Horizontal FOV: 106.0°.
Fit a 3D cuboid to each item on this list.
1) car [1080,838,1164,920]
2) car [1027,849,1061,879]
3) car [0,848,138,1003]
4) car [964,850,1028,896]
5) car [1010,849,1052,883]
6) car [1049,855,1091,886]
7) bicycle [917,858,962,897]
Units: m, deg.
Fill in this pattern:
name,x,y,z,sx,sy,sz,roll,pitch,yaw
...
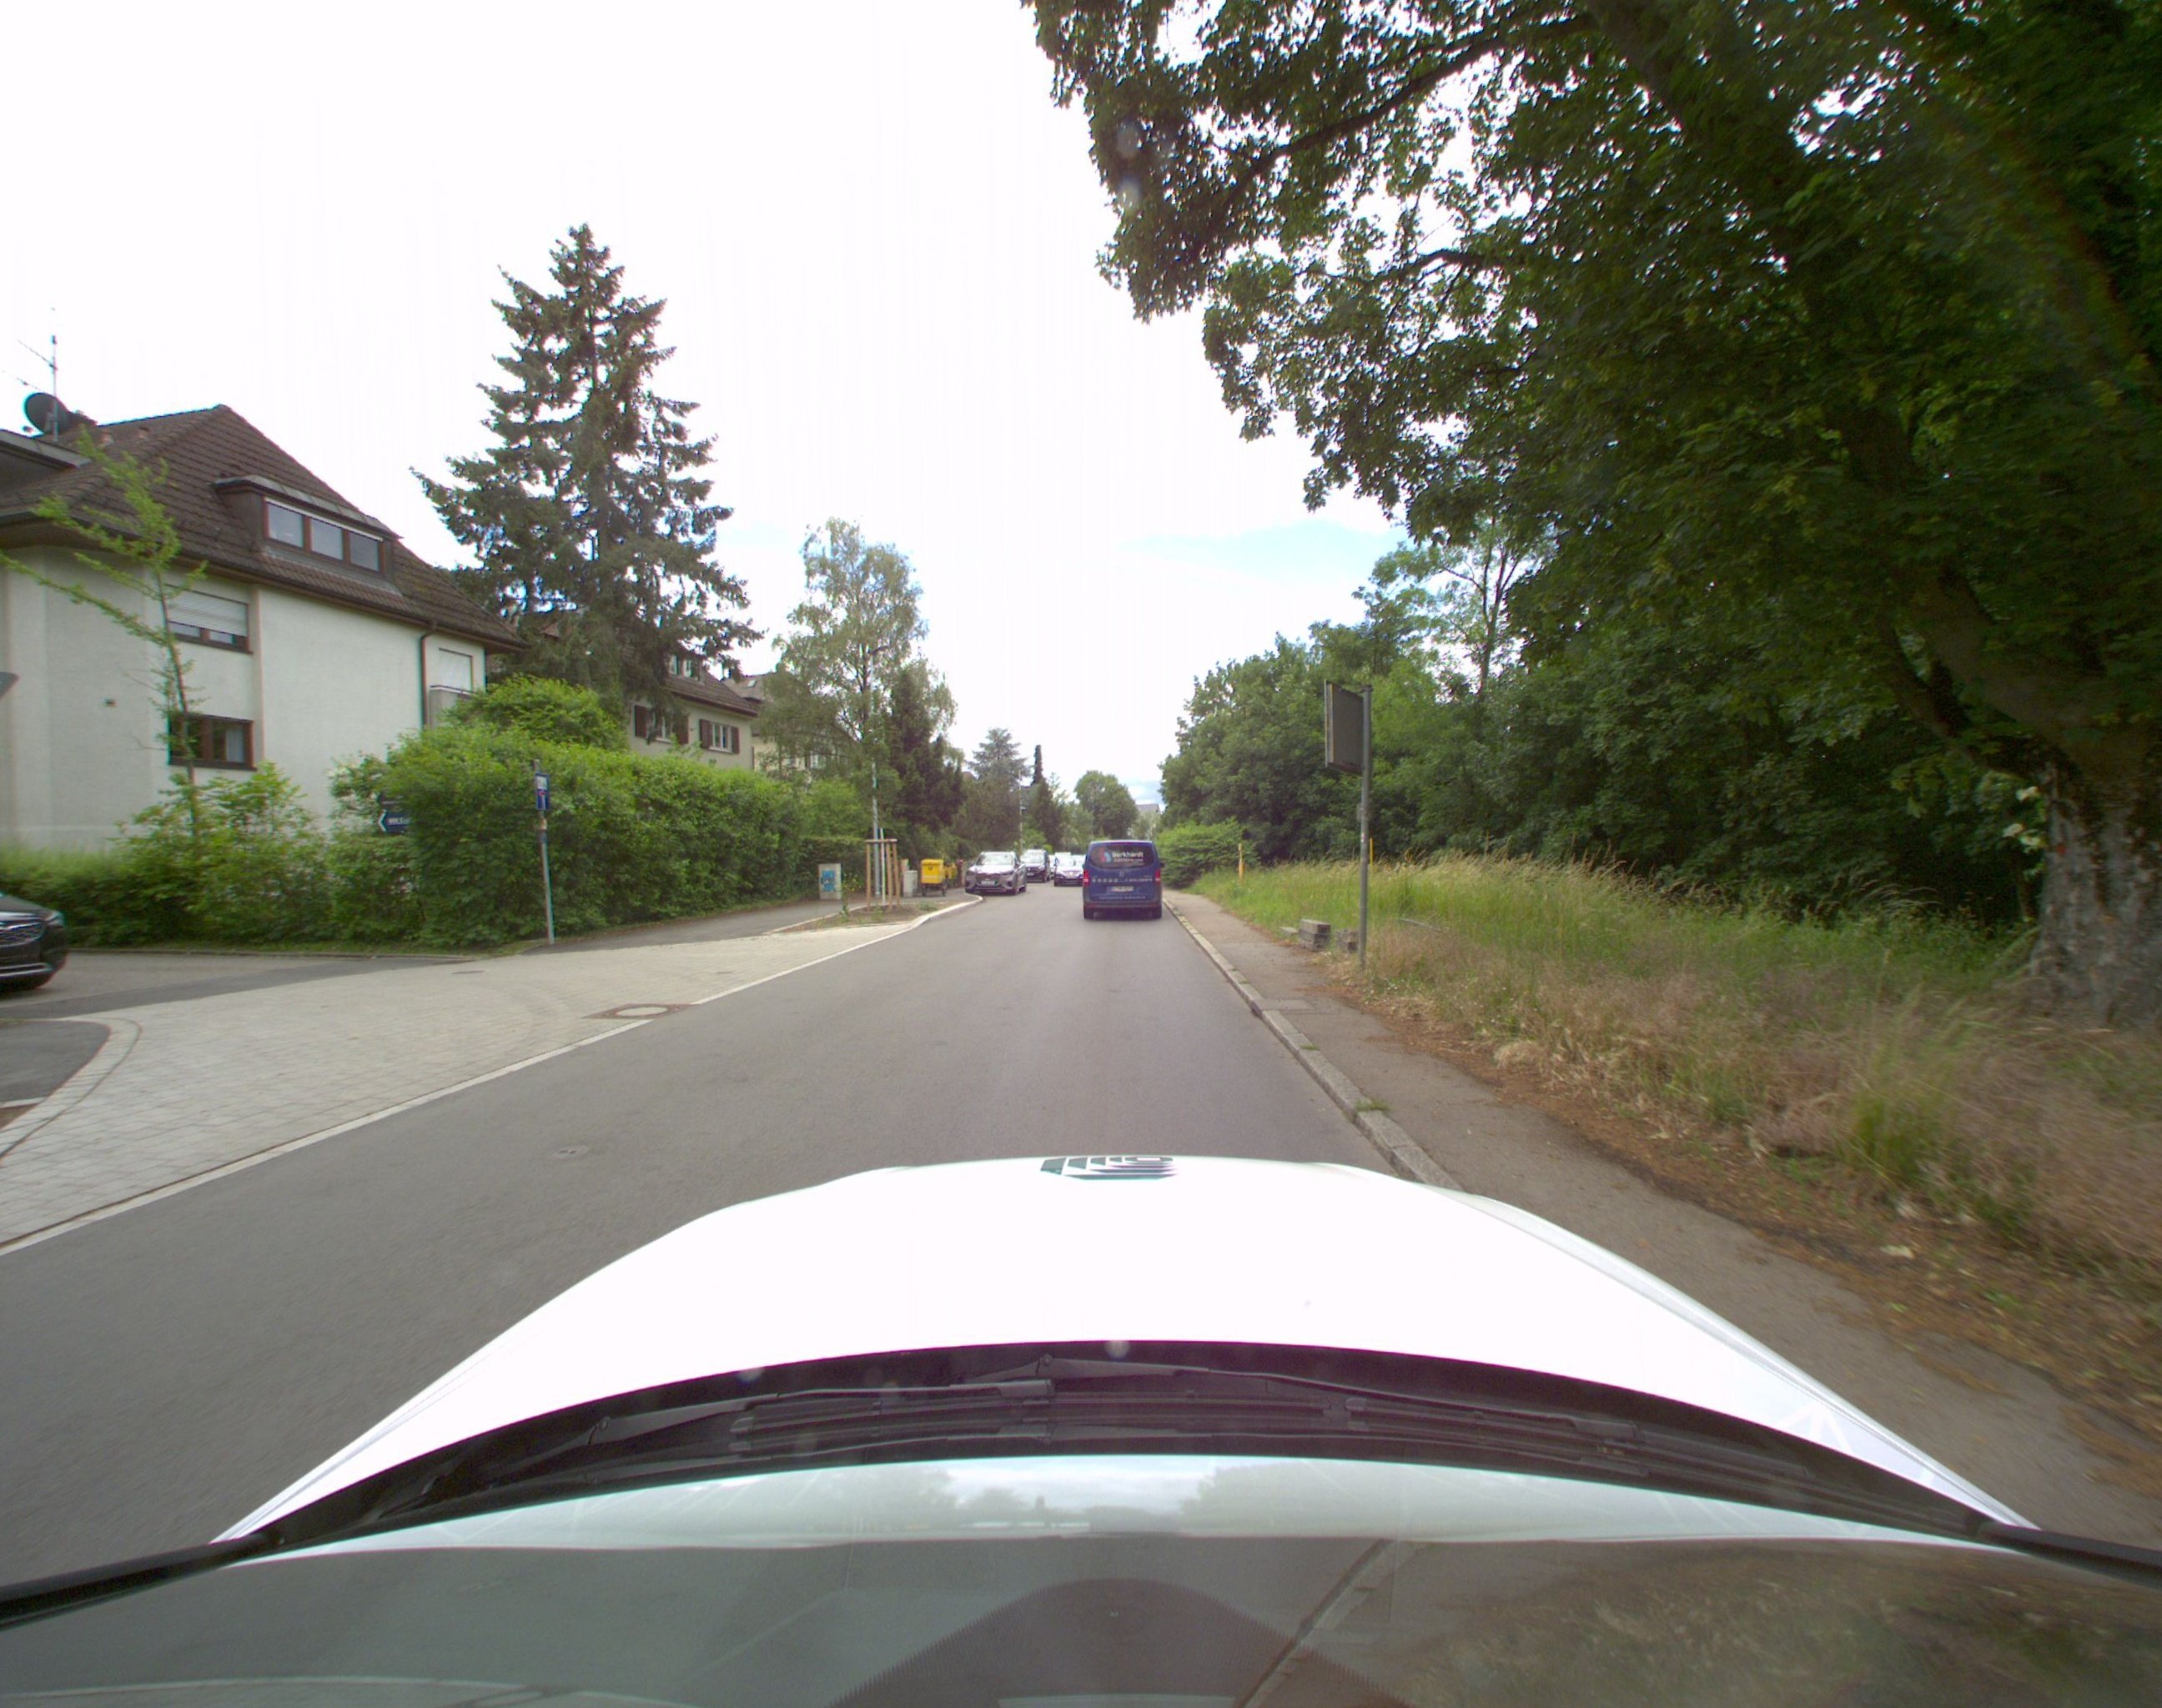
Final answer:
name,x,y,z,sx,sy,sz,roll,pitch,yaw
car,0.976,0.520,20.474,1.882,1.844,4.001,0,1,1
car,-2.248,0.632,50.577,1.824,1.804,4.001,0,-1,2
car,-13.177,0.723,8.780,3.969,1.593,1.870,1,0,4
car,-3.208,0.684,31.517,1.828,1.631,4.304,0,0,3
car,-2.658,0.605,44.417,1.824,1.751,4.003,0,0,3
car,-0.479,0.768,40.094,1.812,1.443,4.003,0,0,3
bicycle,-4.929,0.791,28.636,0.902,1.252,2.918,1,0,3
